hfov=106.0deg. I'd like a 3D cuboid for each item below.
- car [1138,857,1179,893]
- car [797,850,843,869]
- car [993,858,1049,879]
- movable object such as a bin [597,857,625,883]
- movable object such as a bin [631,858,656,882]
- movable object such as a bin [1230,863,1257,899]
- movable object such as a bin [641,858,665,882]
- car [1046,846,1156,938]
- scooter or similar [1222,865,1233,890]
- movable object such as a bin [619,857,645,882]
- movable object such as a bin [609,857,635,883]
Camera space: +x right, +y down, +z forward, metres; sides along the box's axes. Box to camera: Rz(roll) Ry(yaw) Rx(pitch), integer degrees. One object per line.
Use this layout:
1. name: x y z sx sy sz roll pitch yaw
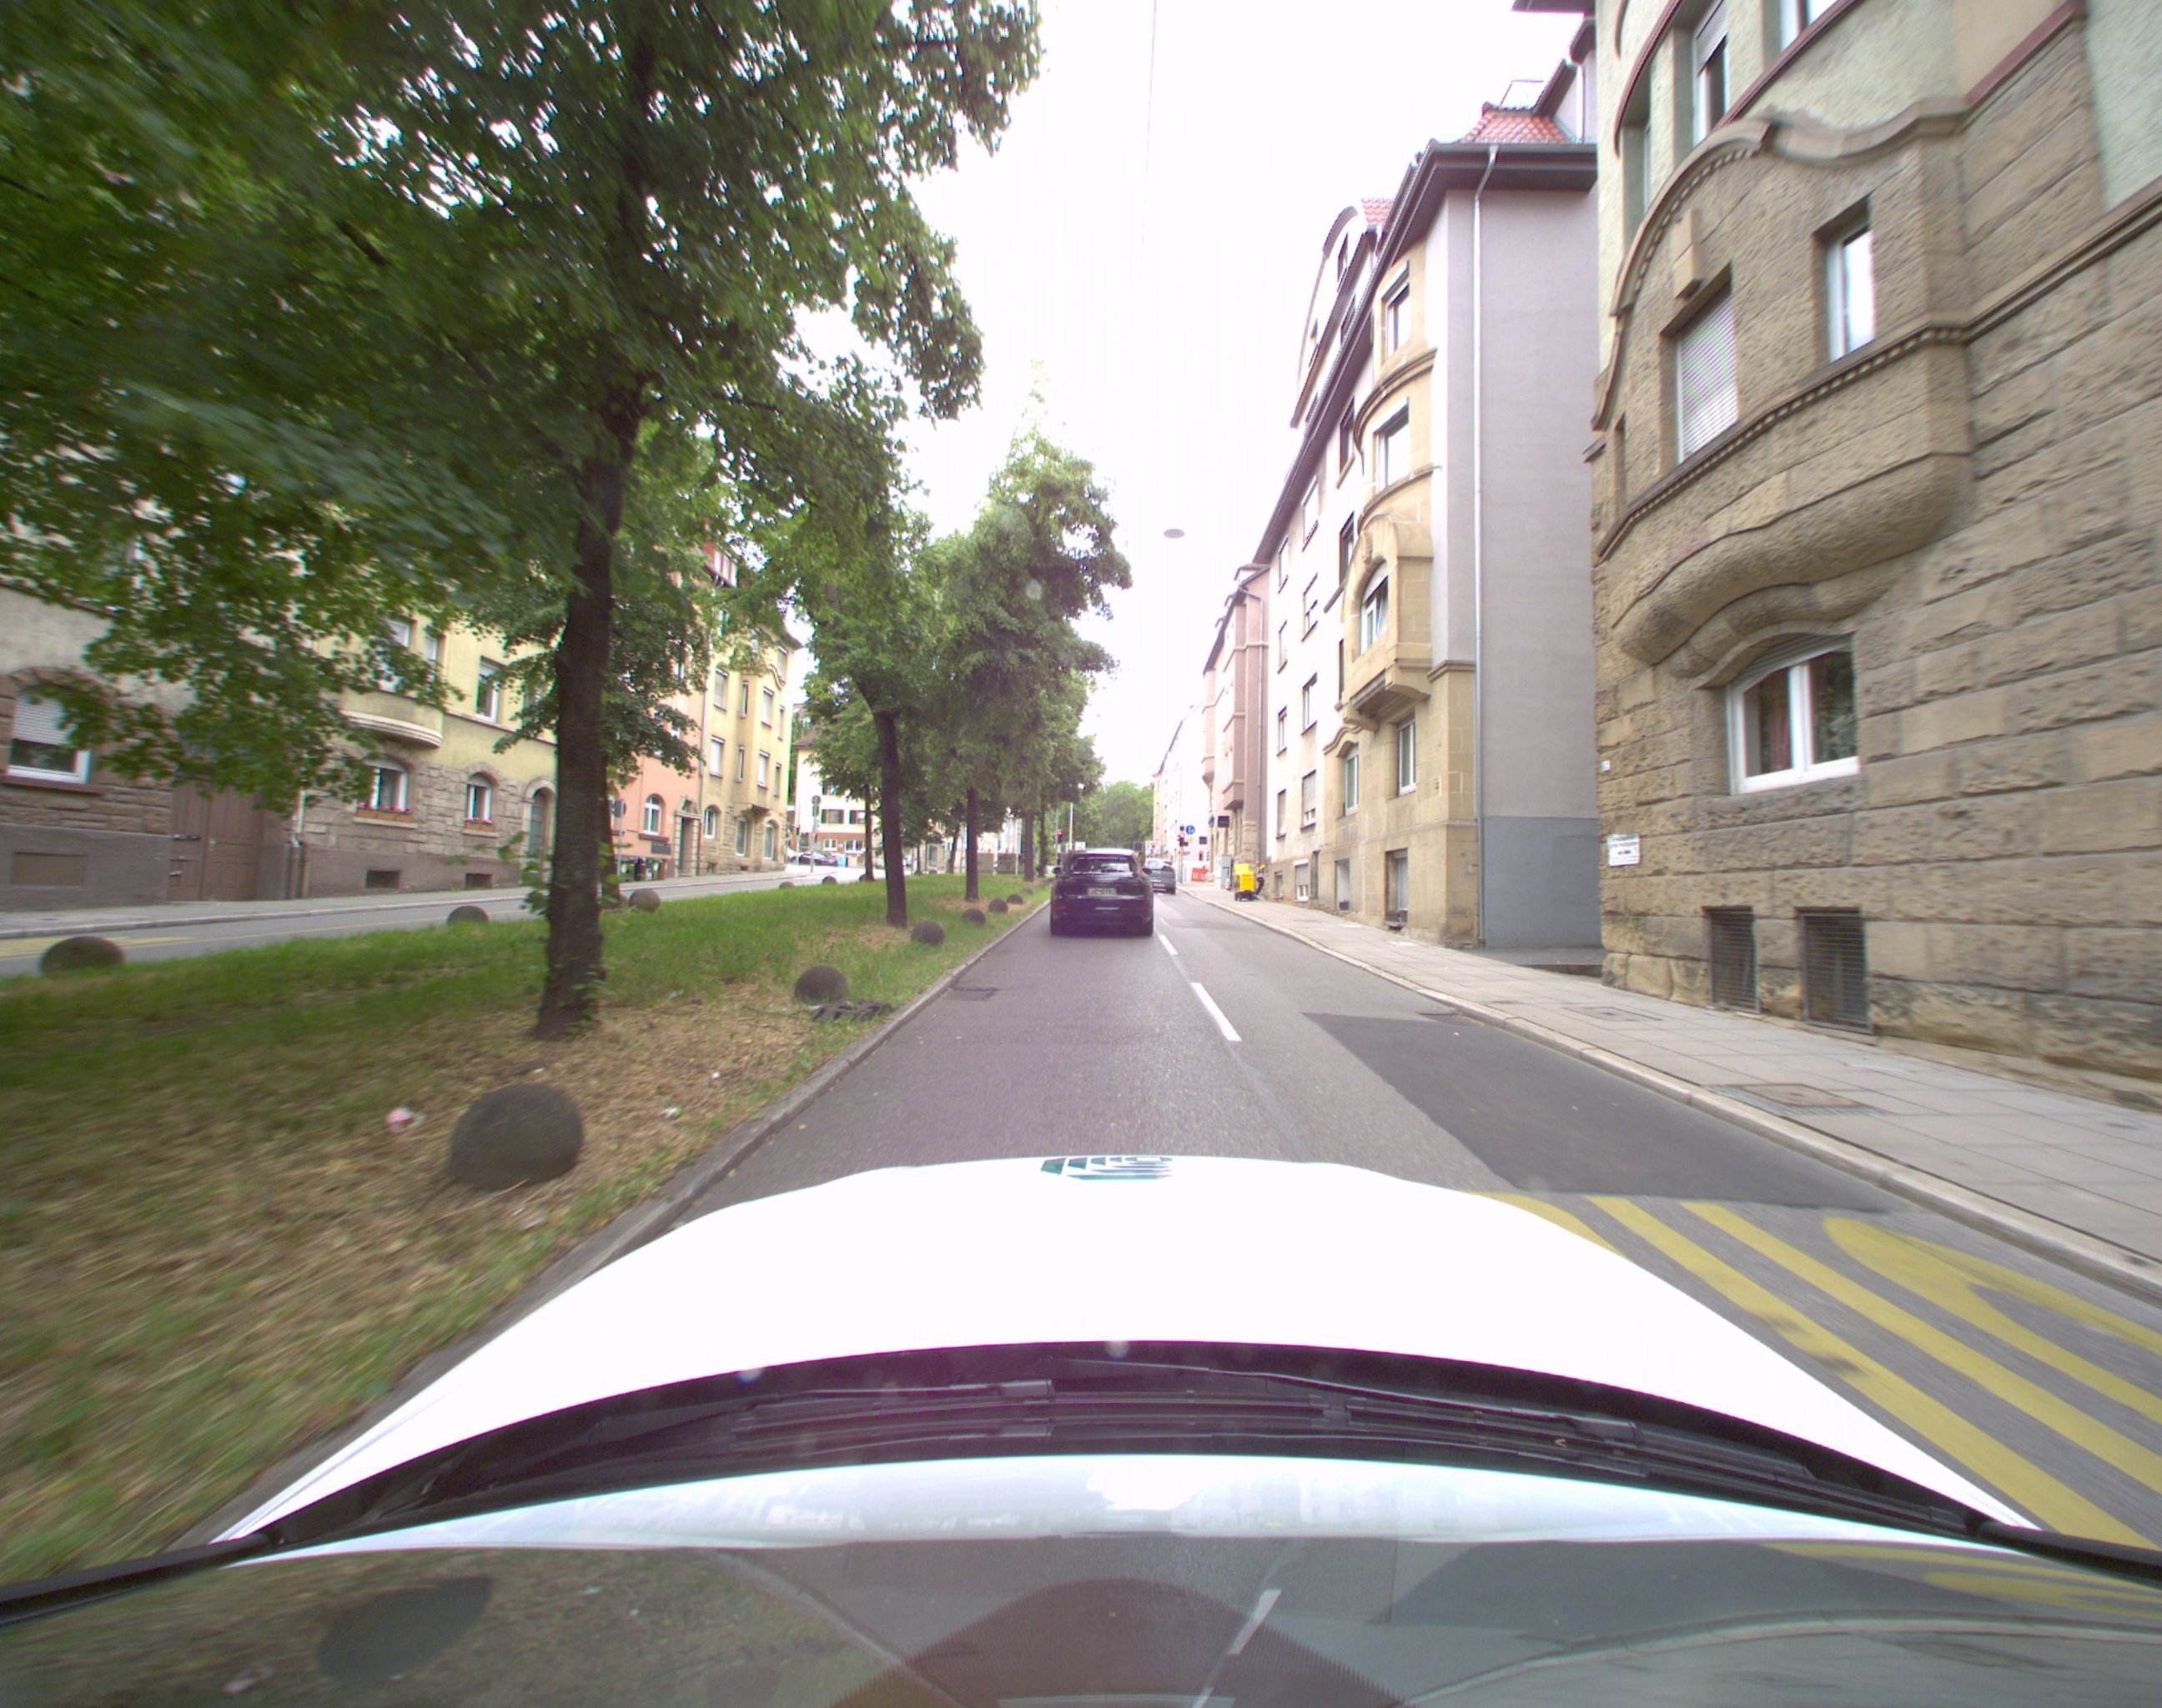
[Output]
1. car: 3.691 0.996 39.173 1.745 1.593 3.633 2 0 3
2. car: -23.369 0.506 72.976 3.948 1.665 1.894 0 -3 35
3. car: -4.746 1.124 64.821 4.185 1.510 1.802 2 0 4
4. movable object such as a bin: -16.957 0.571 29.400 0.607 0.904 0.601 2 -1 -2
5. movable object such as a bin: -16.918 0.603 31.479 0.607 0.904 0.601 2 -1 -2
6. movable object such as a bin: 6.495 1.067 32.635 0.717 1.421 1.693 0 -2 0
7. movable object such as a bin: -16.895 0.615 32.164 0.607 0.904 0.601 2 -1 -2
8. car: 0.456 0.689 16.788 1.986 1.653 4.003 0 0 2
9. scooter or similar: 7.229 1.142 40.198 0.399 1.188 1.356 0 1 6
10. movable object such as a bin: -16.935 0.596 30.706 0.607 0.904 0.601 2 -1 -2
11. movable object such as a bin: -16.932 0.585 30.046 0.607 0.904 0.601 2 -1 -2
